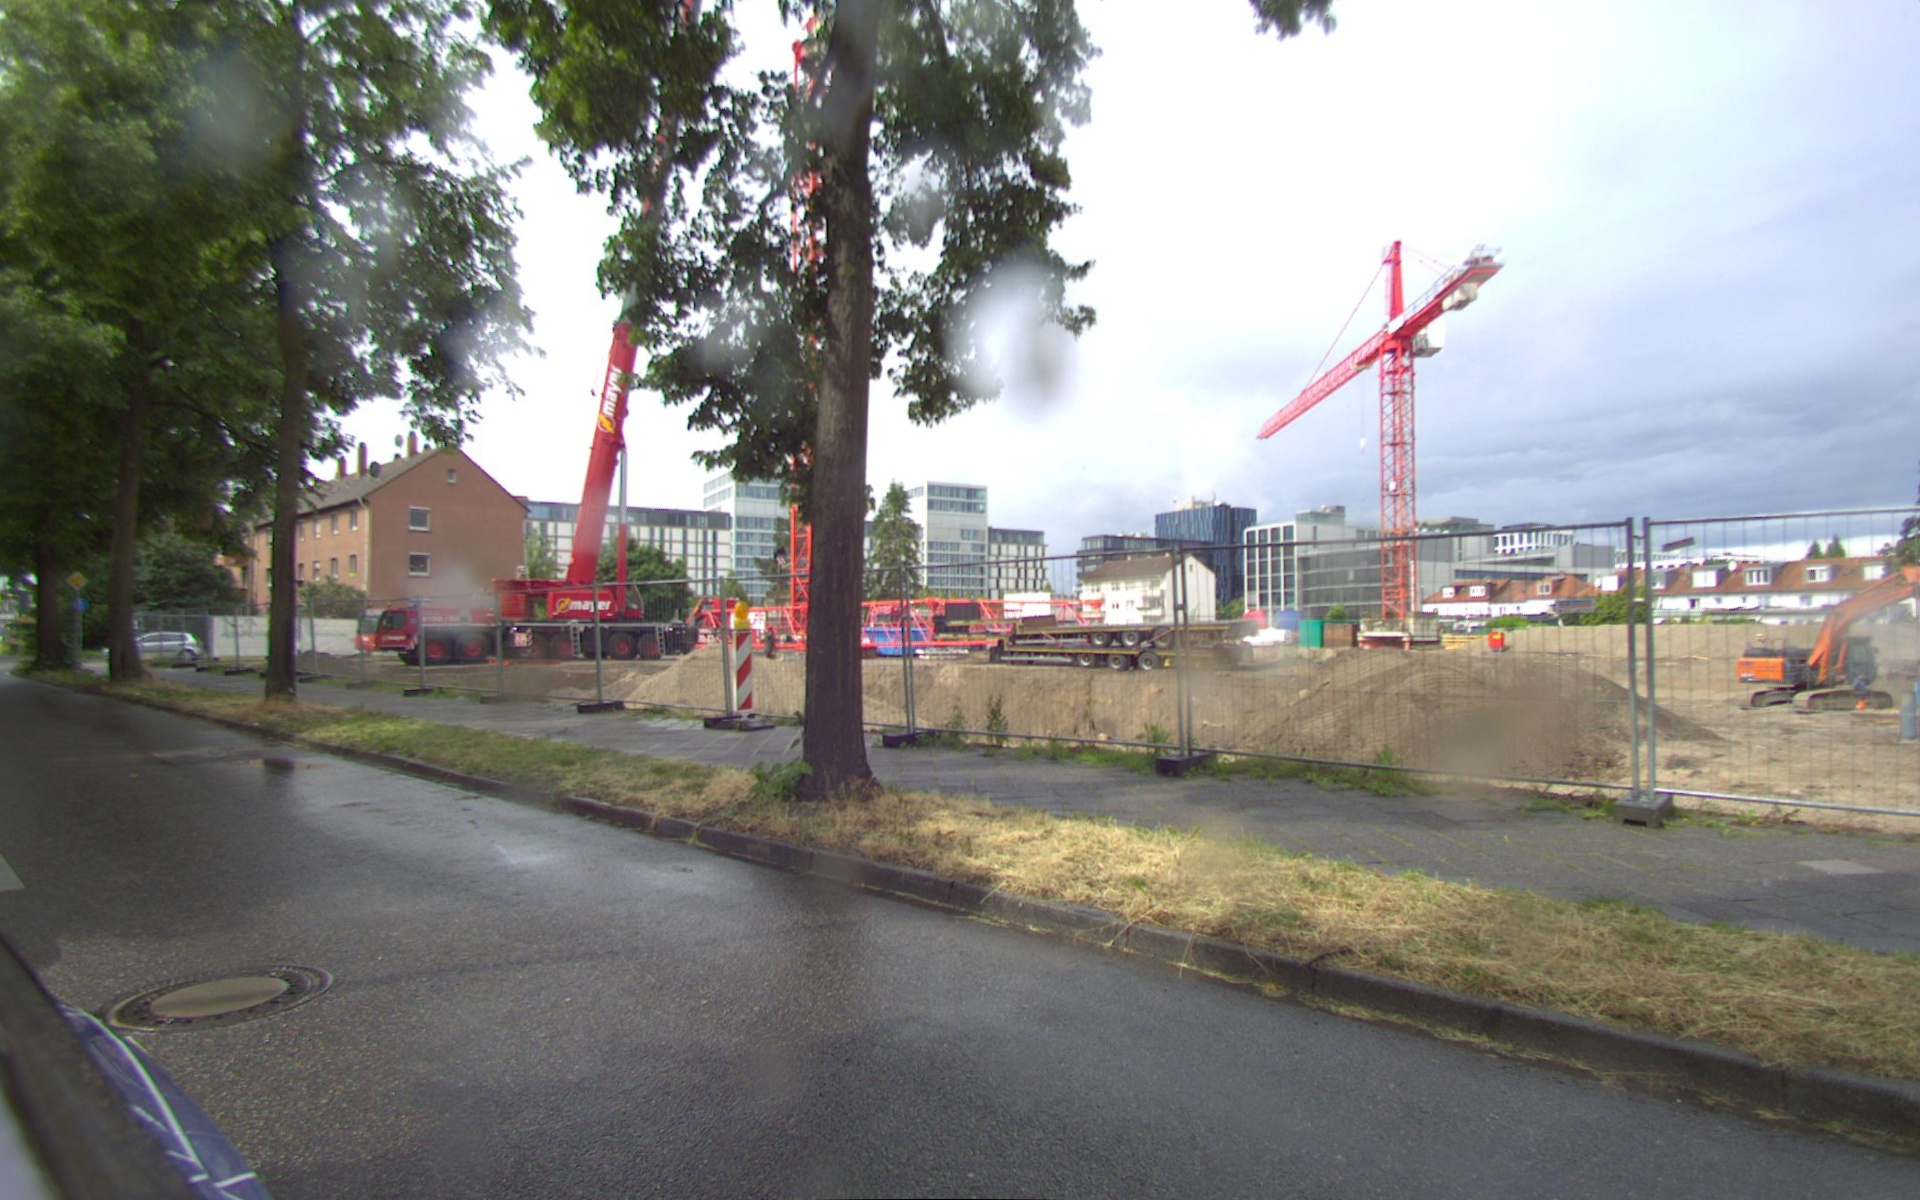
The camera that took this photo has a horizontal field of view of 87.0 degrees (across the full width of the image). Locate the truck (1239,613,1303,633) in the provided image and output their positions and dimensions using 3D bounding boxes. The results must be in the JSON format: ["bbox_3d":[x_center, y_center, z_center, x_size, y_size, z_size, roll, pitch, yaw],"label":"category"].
[{"bbox_3d":[33.031,2.445,107.486,6.292,2.095,1.884,-1,0,25],"label":"truck"}]

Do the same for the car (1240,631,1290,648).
[{"bbox_3d":[30.919,4.001,102.755,4.582,1.529,1.797,-1,0,44],"label":"car"}]

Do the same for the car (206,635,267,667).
[{"bbox_3d":[-38.567,2.682,53.902,3.996,1.541,1.672,-1,0,39],"label":"car"}]

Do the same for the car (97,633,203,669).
[{"bbox_3d":[-39.026,2.426,48.878,3.806,1.564,1.703,-1,0,-31],"label":"car"}]

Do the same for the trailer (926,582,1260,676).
[{"bbox_3d":[4.886,1.124,41.599,14.302,3.257,2.930,-1,1,41],"label":"trailer"}]

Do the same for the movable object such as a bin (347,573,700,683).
[{"bbox_3d":[-20.416,1.118,49.165,3.102,4.592,15.727,-1,0,44],"label":"movable object such as a bin"}]
